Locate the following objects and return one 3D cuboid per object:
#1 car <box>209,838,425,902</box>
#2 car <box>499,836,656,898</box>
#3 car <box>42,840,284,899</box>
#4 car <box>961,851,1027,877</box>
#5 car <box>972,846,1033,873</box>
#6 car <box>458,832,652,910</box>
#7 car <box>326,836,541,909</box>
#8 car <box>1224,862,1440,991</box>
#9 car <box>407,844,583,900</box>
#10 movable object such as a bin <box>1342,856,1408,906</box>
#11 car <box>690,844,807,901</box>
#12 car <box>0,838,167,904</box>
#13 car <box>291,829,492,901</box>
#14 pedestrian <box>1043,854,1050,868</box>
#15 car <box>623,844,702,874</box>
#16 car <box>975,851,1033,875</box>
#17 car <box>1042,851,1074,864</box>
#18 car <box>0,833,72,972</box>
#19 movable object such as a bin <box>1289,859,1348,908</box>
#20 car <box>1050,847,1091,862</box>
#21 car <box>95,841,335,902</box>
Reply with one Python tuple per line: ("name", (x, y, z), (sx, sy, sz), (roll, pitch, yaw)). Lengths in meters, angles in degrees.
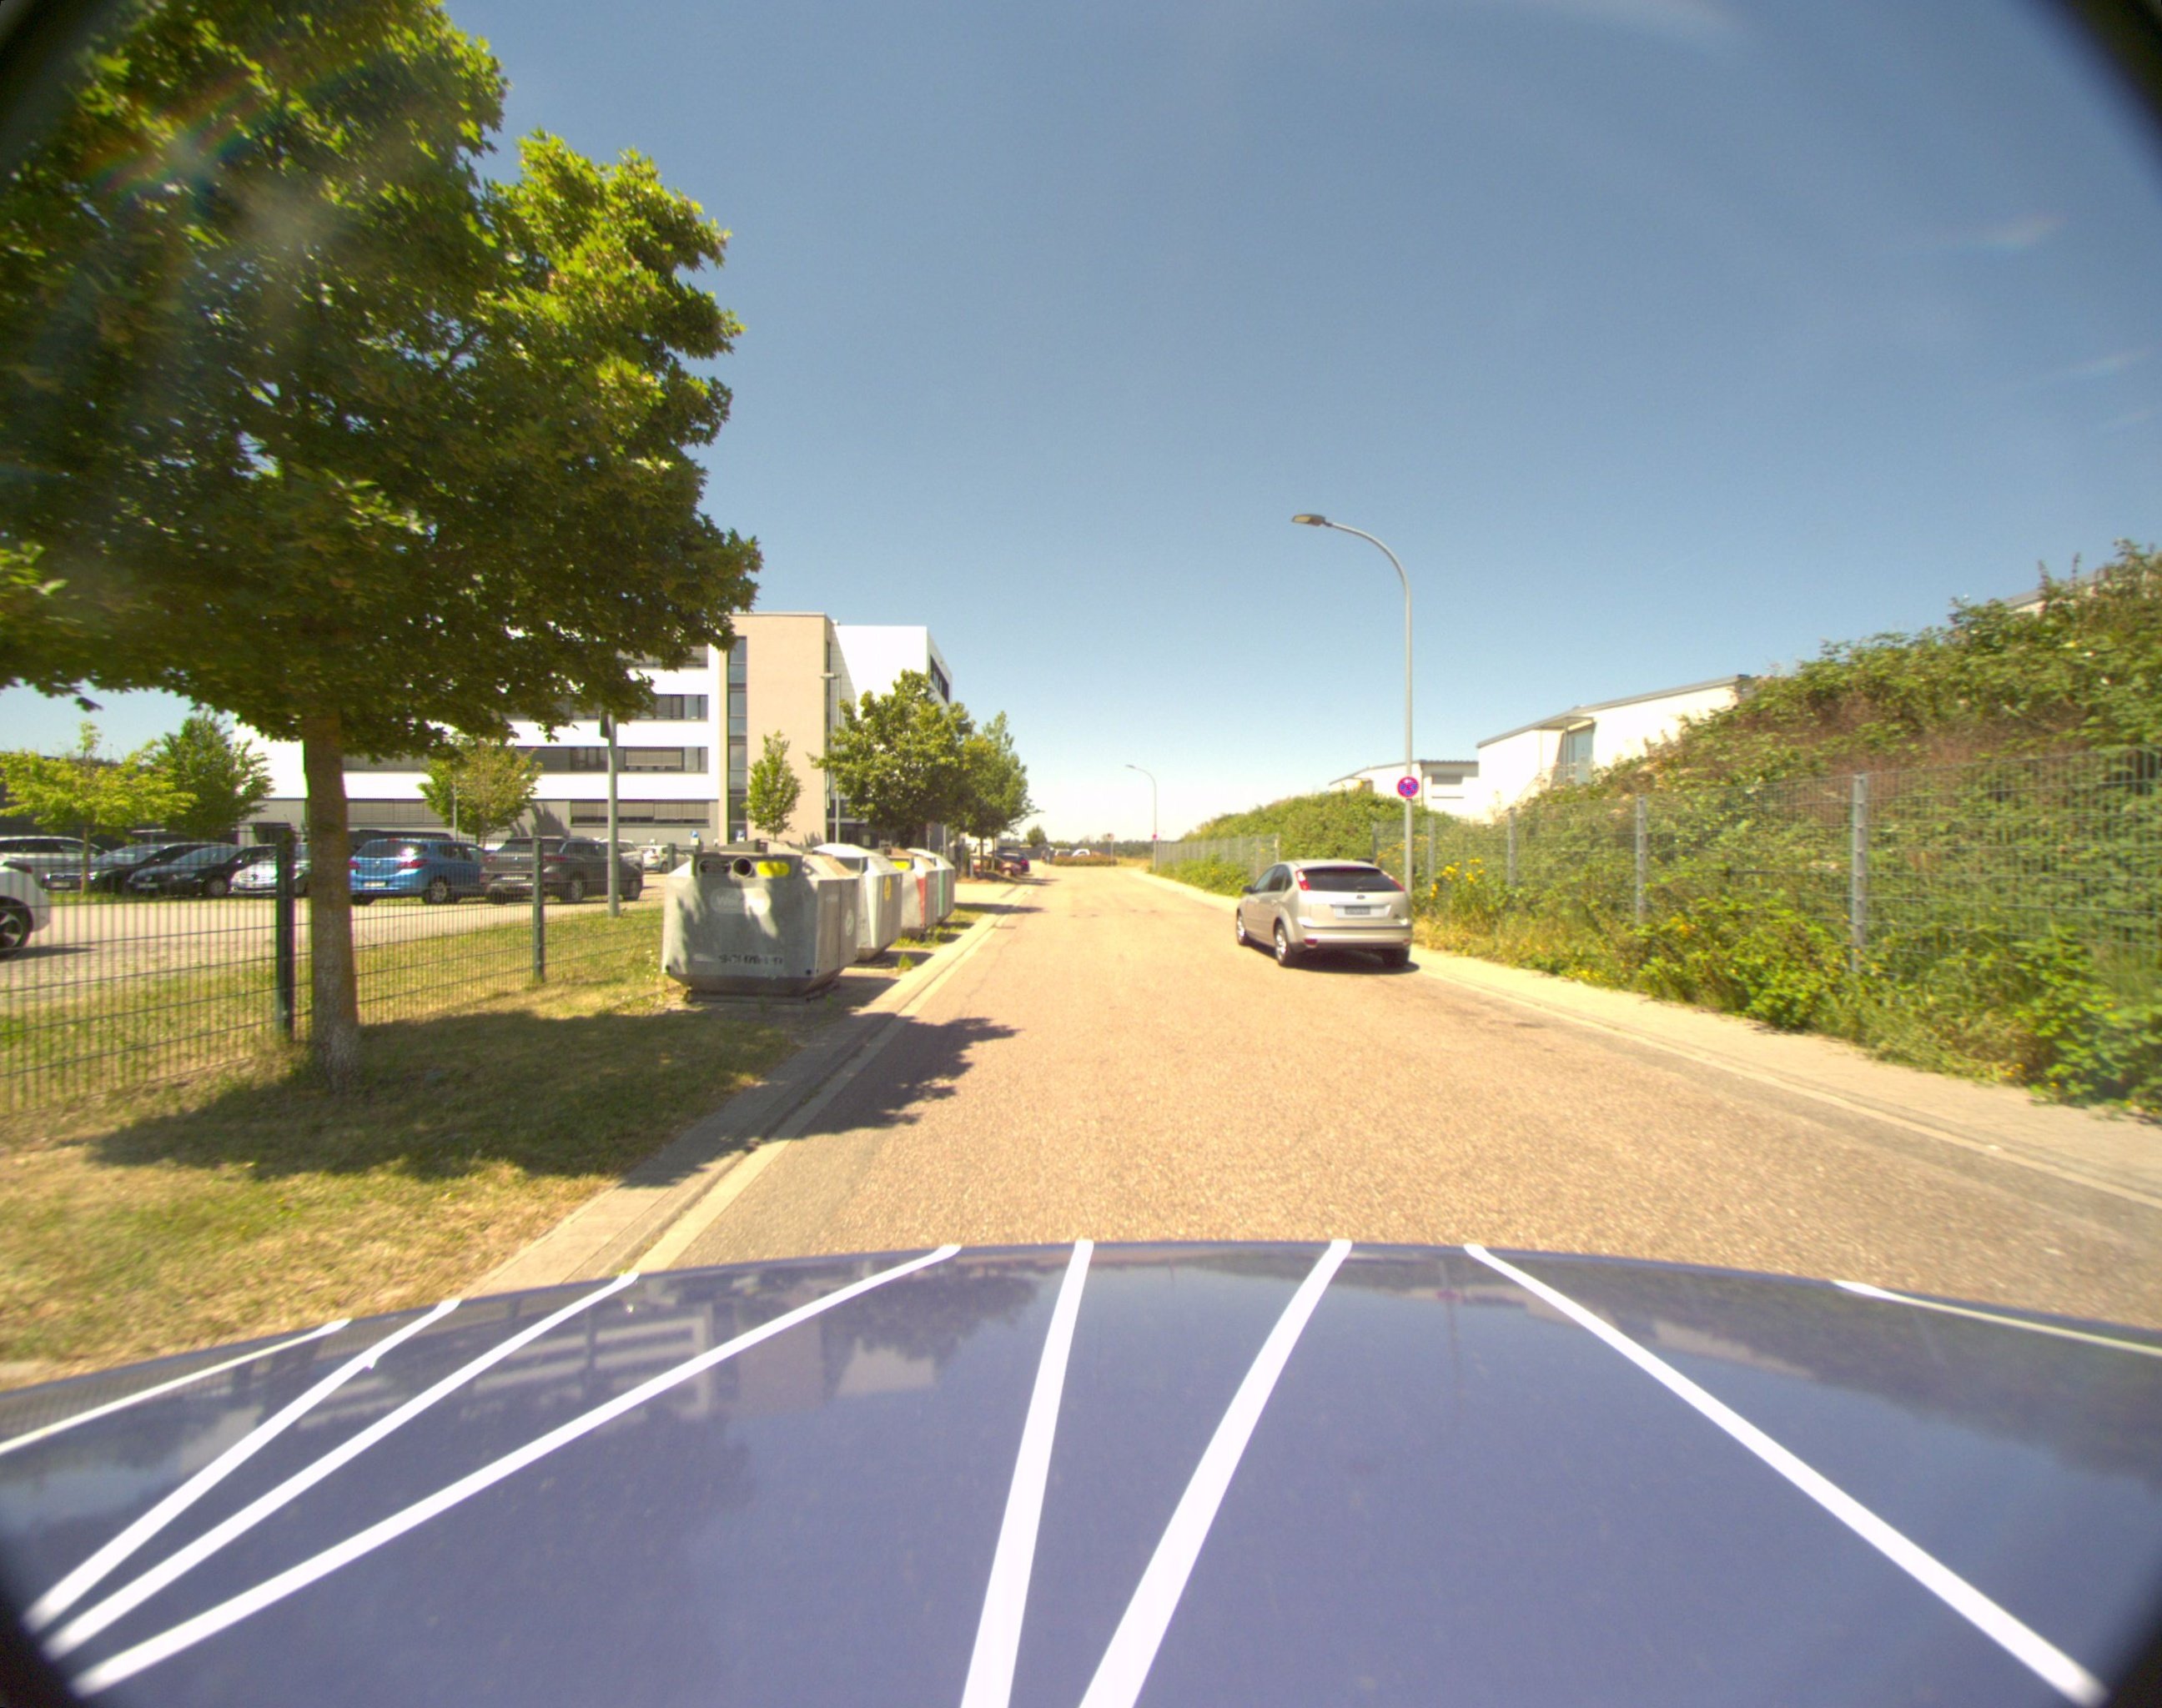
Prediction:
("car", (-22.285, 0.383, 22.492), (1.917, 1.613, 4.513), (0, 2, -3))
("car", (-15.074, 0.293, 23.106), (1.844, 1.644, 4.647), (0, 2, -3))
("car", (-27.414, 0.386, 23.007), (1.917, 1.525, 4.513), (0, 2, -3))
("car", (-5.365, 0.615, 47.291), (3.998, 1.486, 1.724), (1, 1, -3))
("car", (-5.398, 0.354, 52.790), (3.996, 1.755, 1.725), (1, 1, 2))
("car", (-12.131, 0.413, 17.933), (1.794, 1.613, 4.241), (0, -2, -3))
("car", (-14.669, 0.445, 17.555), (1.650, 1.483, 4.023), (0, -2, -3))
("car", (3.562, 0.933, 11.729), (1.838, 1.537, 4.366), (0, 0, -1))
("car", (-17.338, 0.449, 22.854), (1.844, 1.425, 4.647), (0, 2, -3))
("movable object such as a bin", (9.450, 0.841, 24.533), (1.353, 1.456, 1.766), (-4, 0, 0))
("car", (-9.868, 0.484, 22.939), (1.794, 1.447, 4.407), (0, 2, -3))
("car", (-30.017, 0.417, 21.898), (1.917, 1.705, 4.529), (0, 2, -3))
("car", (-20.018, 0.224, 22.411), (1.917, 1.889, 4.513), (0, 2, -3))
("pedestrian", (-4.314, 0.879, 95.696), (0.830, 1.673, 0.711), (1, 1, -10))
("car", (-22.223, 0.223, 40.555), (1.809, 1.452, 4.223), (1, 1, 1))
("car", (-5.045, 0.568, 50.012), (3.722, 1.486, 1.781), (1, 1, -3))
("car", (-2.995, 0.474, 96.707), (3.999, 1.596, 1.676), (0, 0, -5))
("car", (-11.948, 0.554, 6.257), (1.794, 1.424, 4.140), (0, 2, -3))
("movable object such as a bin", (7.550, 0.903, 24.254), (1.307, 1.468, 1.838), (0, 1, -1))
("car", (-1.097, 0.045, 77.054), (3.999, 1.532, 1.830), (0, 0, -5))
("car", (-24.903, 0.424, 22.167), (1.917, 1.525, 4.513), (0, 2, -3))
